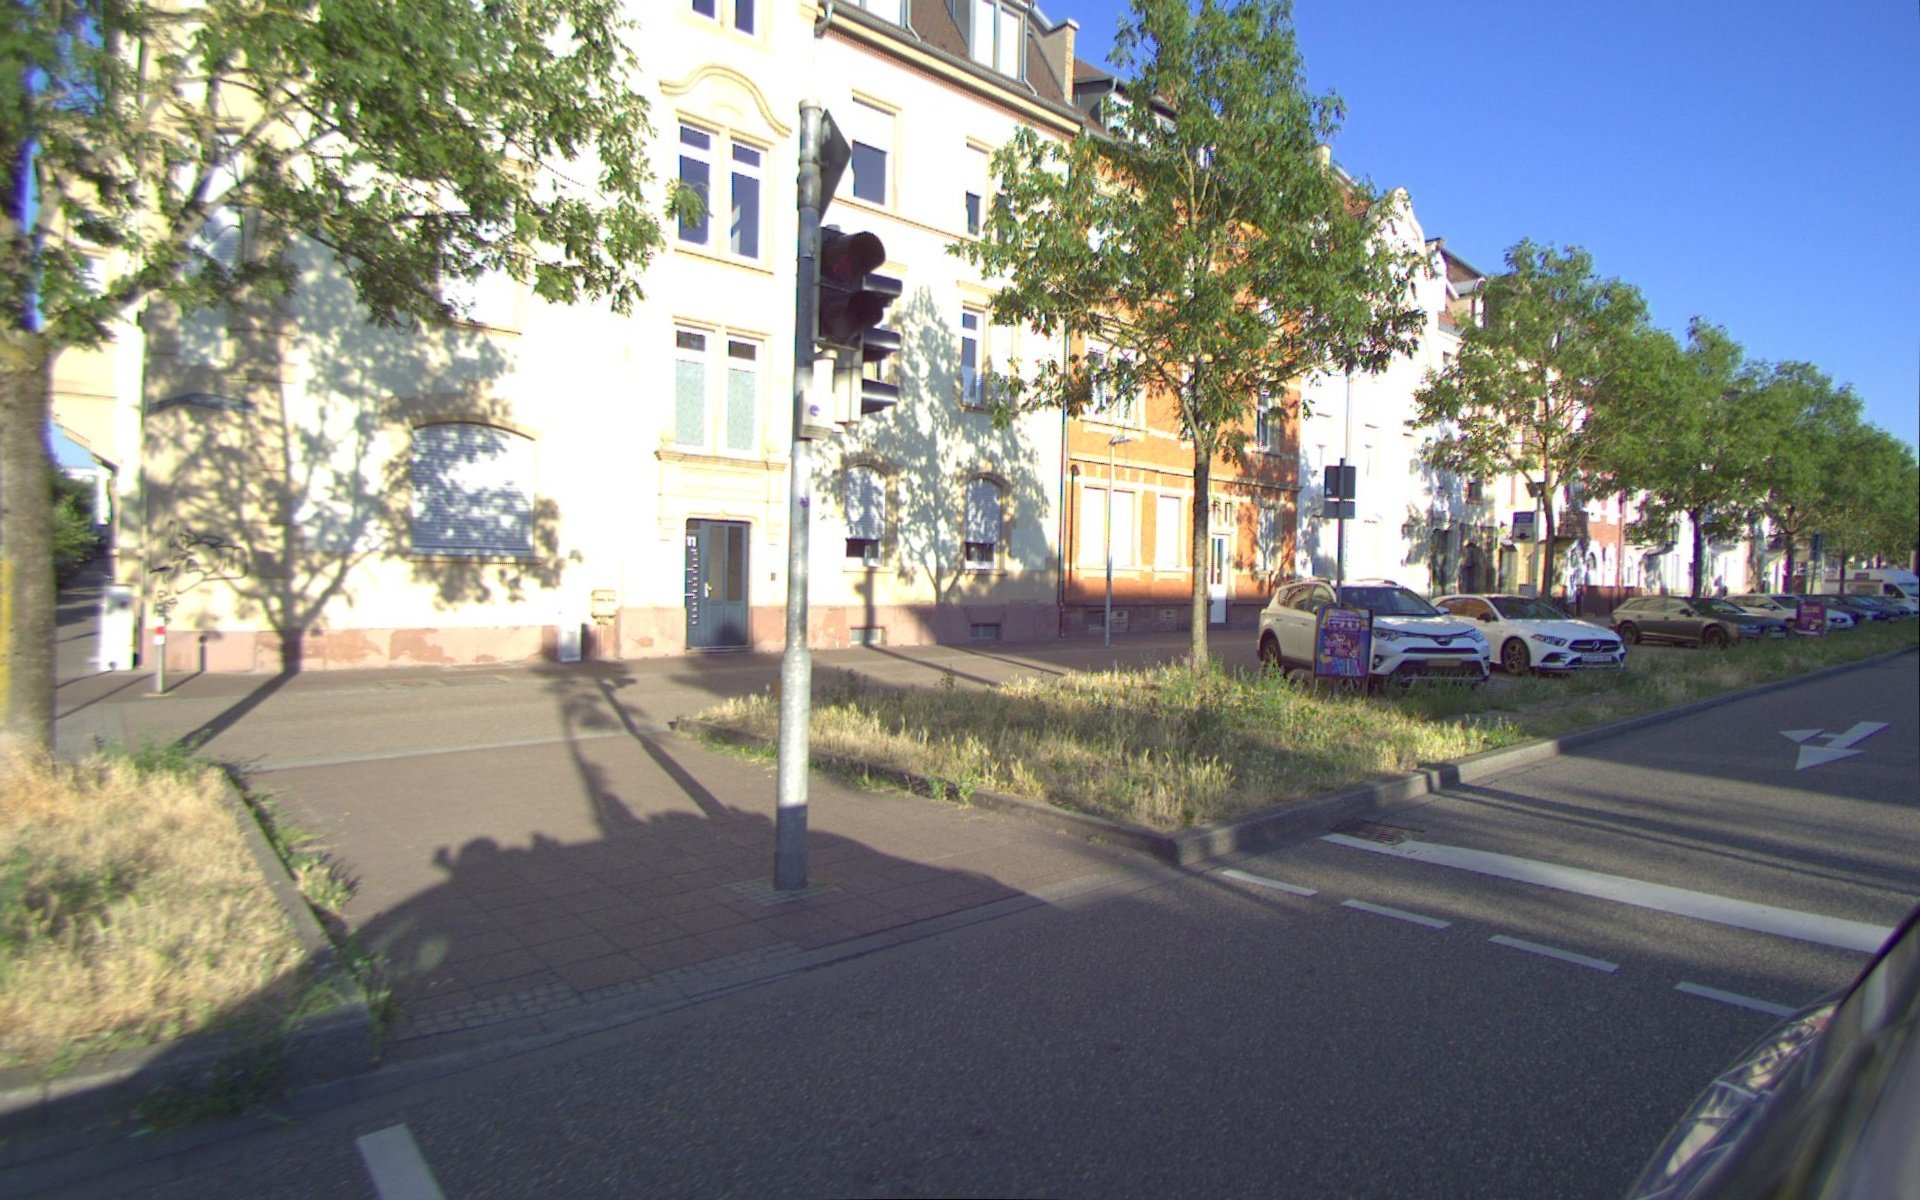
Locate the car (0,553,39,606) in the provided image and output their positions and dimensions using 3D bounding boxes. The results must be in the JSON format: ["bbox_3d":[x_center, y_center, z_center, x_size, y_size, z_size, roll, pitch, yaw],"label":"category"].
[{"bbox_3d":[-32.621,-0.683,32.812,3.633,1.688,1.872,0,1,-21],"label":"car"}]

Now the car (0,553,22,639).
[{"bbox_3d":[-18.864,-0.076,17.058,4.113,1.511,1.872,0,1,-12],"label":"car"}]

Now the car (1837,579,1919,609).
[{"bbox_3d":[46.781,-0.342,50.940,1.761,1.420,3.926,1,1,-2],"label":"car"}]

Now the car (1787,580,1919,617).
[{"bbox_3d":[37.438,-0.093,42.441,1.691,1.455,4.061,-1,1,-12],"label":"car"}]

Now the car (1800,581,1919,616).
[{"bbox_3d":[39.758,-0.079,44.283,1.883,1.441,4.443,0,0,-9],"label":"car"}]

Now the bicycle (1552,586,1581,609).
[{"bbox_3d":[27.064,-0.105,45.152,1.894,1.003,0.580,-1,2,-41],"label":"bicycle"}]

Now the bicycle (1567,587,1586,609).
[{"bbox_3d":[28.313,-0.104,46.484,1.197,0.973,0.419,0,1,-41],"label":"bicycle"}]

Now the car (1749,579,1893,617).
[{"bbox_3d":[34.966,-0.102,41.286,1.848,1.434,4.440,0,1,-5],"label":"car"}]

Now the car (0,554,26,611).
[{"bbox_3d":[-27.087,-0.478,26.349,3.634,1.492,1.872,0,1,-22],"label":"car"}]

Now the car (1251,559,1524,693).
[{"bbox_3d":[6.168,0.298,15.276,1.877,1.712,4.438,1,1,-6],"label":"car"}]

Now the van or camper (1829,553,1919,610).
[{"bbox_3d":[49.269,-0.984,52.945,2.159,2.847,5.661,0,1,-9],"label":"van or camper"}]

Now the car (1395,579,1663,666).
[{"bbox_3d":[10.547,0.325,19.261,1.989,1.417,4.564,0,2,-10],"label":"car"}]

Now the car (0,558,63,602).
[{"bbox_3d":[-29.975,-0.622,30.859,3.556,1.326,1.695,0,1,-21],"label":"car"}]

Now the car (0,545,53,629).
[{"bbox_3d":[-20.327,-0.277,19.508,3.792,1.596,1.873,0,1,-20],"label":"car"}]

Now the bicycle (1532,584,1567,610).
[{"bbox_3d":[25.499,-0.133,43.762,2.189,1.092,0.589,-1,3,-41],"label":"bicycle"}]

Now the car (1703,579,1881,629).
[{"bbox_3d":[27.537,0.083,33.727,1.810,1.528,4.652,0,1,-5],"label":"car"}]

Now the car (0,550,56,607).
[{"bbox_3d":[-28.143,-0.616,28.444,3.633,1.576,1.872,0,1,-21],"label":"car"}]

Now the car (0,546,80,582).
[{"bbox_3d":[-41.651,-1.596,44.601,3.931,1.559,1.872,0,1,-21],"label":"car"}]

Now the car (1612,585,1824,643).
[{"bbox_3d":[20.189,0.313,27.266,1.857,1.365,4.591,0,2,-8],"label":"car"}]
